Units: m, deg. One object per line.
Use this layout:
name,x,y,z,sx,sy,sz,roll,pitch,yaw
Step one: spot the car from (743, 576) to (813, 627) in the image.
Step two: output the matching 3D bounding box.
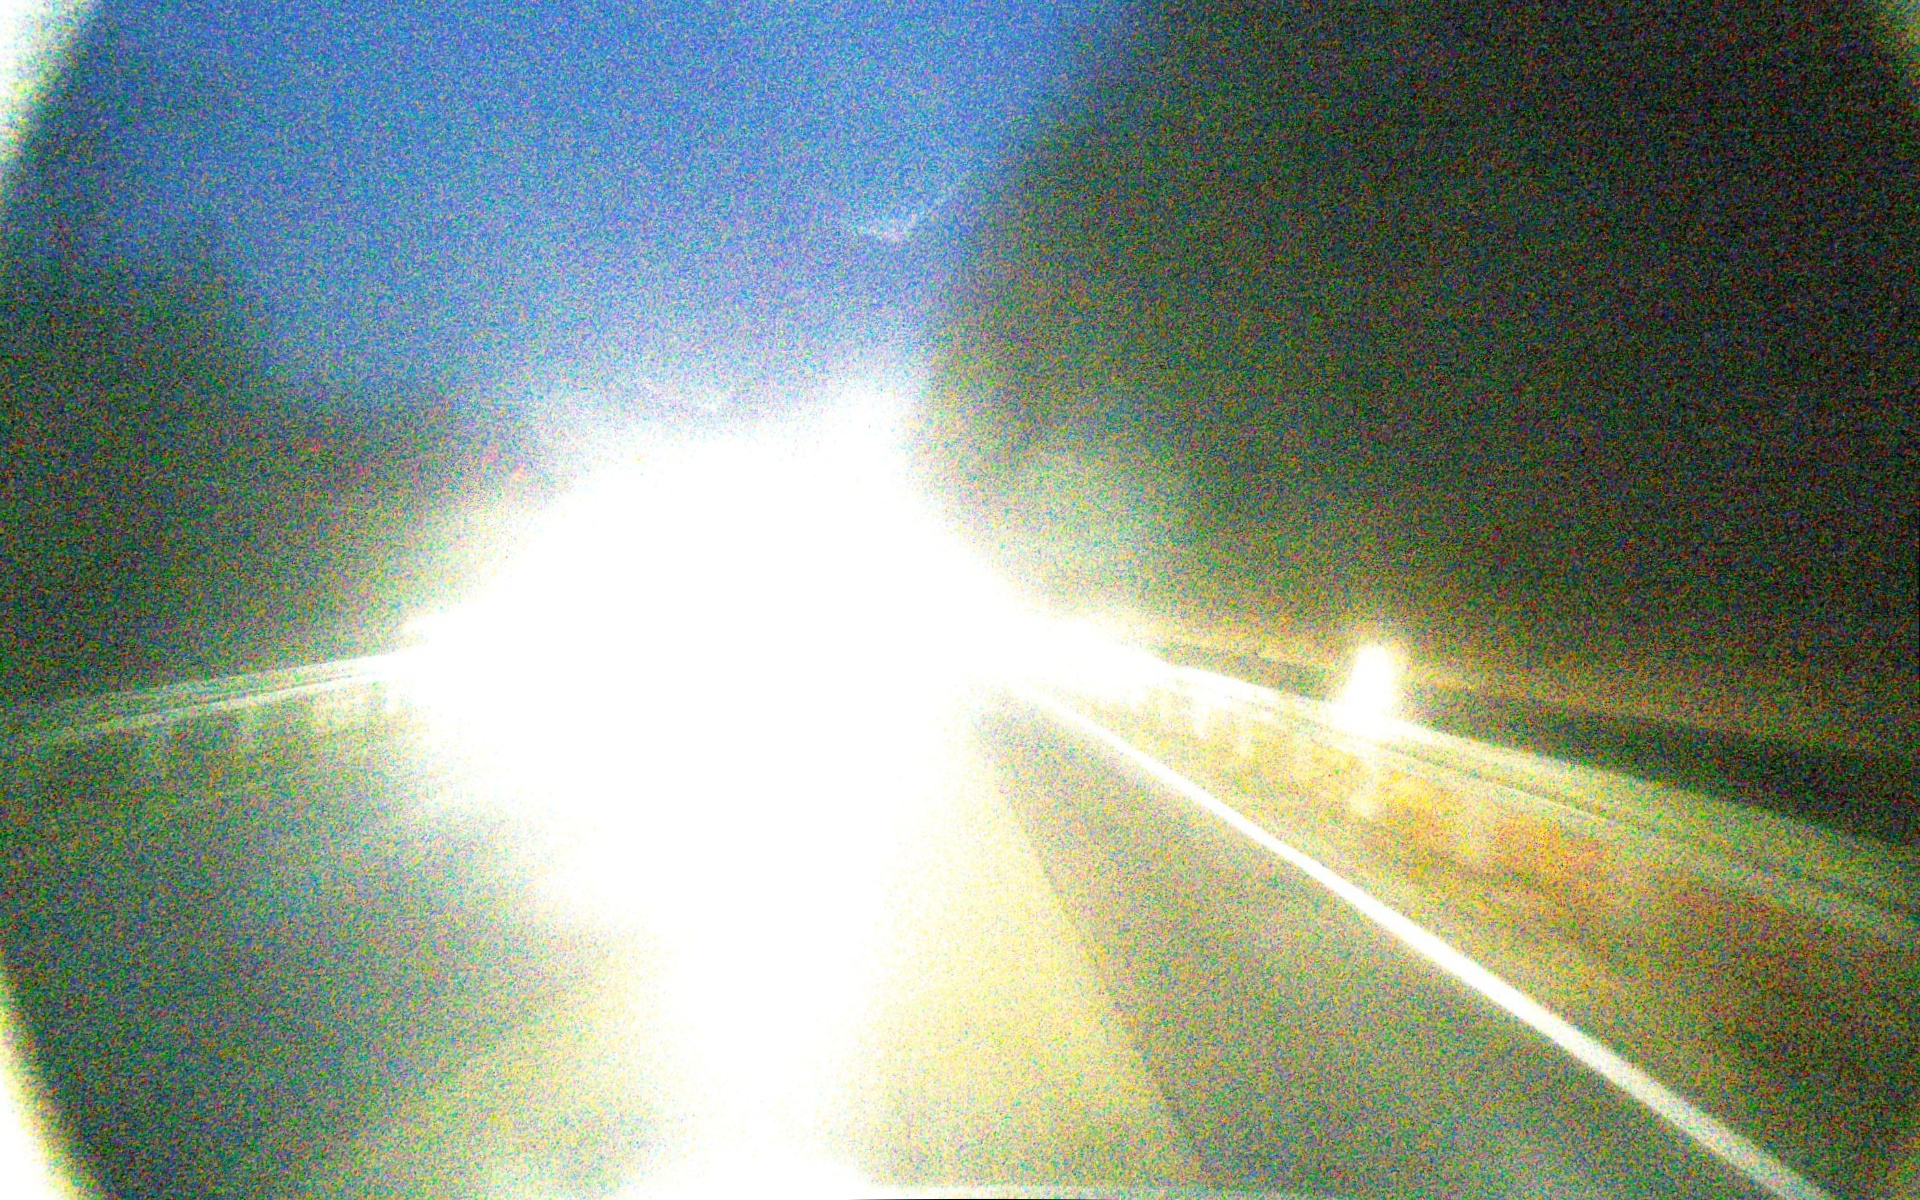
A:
car,-5.655,0.020,51.850,1.954,1.497,3.834,1,0,-3

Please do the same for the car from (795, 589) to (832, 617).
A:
car,-7.370,0.168,83.605,1.770,1.362,4.185,1,0,-4
